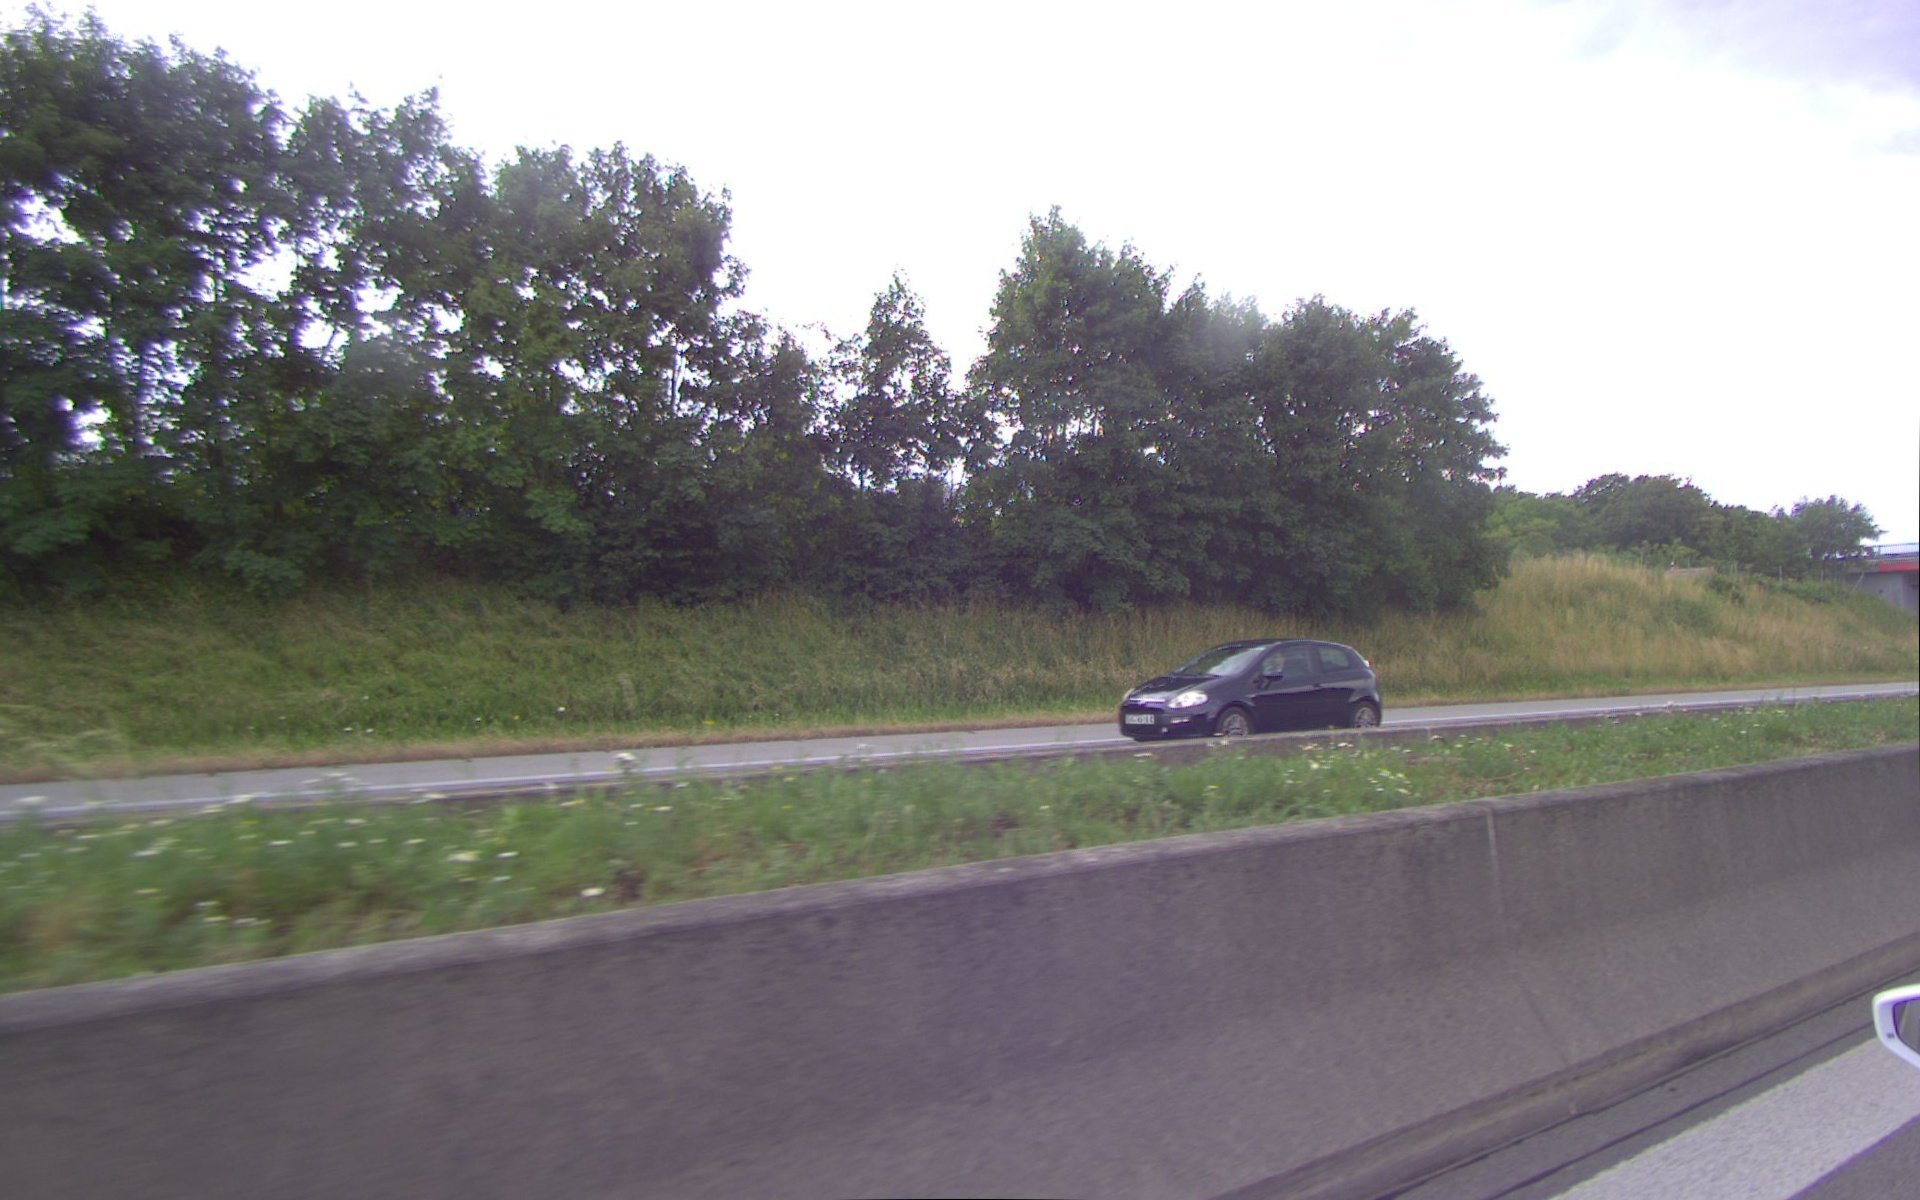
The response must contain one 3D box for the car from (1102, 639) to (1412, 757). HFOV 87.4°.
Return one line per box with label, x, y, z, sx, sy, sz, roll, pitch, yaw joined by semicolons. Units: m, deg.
car;4.105;1.250;13.722;4.185;1.396;1.639;1;-3;-30
